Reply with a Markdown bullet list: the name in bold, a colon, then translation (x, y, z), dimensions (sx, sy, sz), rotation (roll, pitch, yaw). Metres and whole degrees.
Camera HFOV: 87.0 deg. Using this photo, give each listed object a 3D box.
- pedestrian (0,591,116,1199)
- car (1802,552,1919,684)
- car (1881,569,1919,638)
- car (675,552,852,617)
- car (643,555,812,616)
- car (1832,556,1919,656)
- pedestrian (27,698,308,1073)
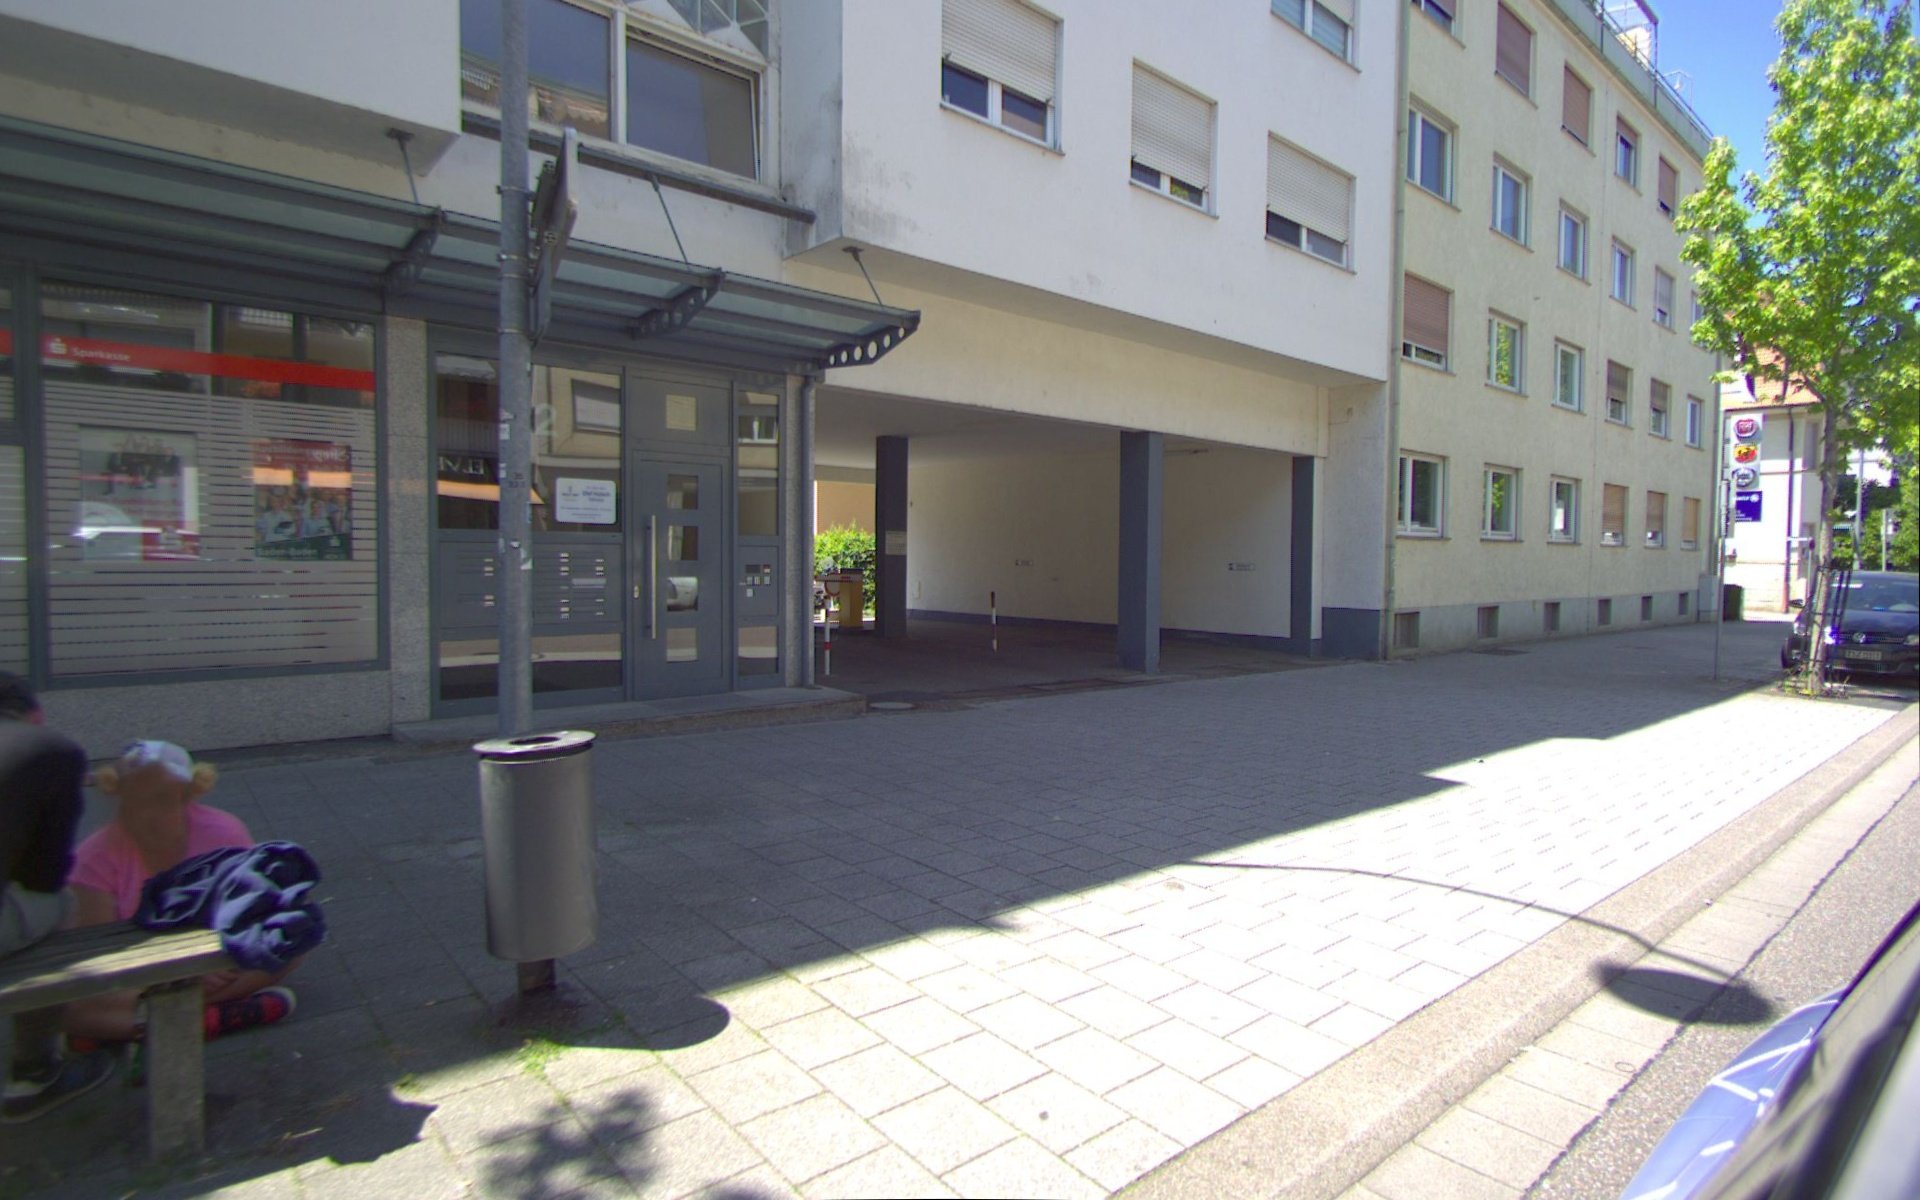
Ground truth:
- **pedestrian**: translation (-2.339, 0.626, 2.250), dimensions (0.527, 1.255, 0.764), rotation (0, 3, -26)
- **car**: translation (14.267, 0.207, 15.422), dimensions (3.934, 1.742, 1.691), rotation (-1, 5, -44)
- **car**: translation (22.782, 0.054, 23.397), dimensions (4.061, 1.506, 1.692), rotation (-1, 3, -41)
- **car**: translation (-4.747, -0.418, 24.768), dimensions (3.931, 1.471, 1.732), rotation (-1, 3, -41)
- **car**: translation (-5.987, -0.410, 26.246), dimensions (3.931, 1.471, 1.732), rotation (-1, 3, -41)
- **car**: translation (18.071, 0.057, 19.363), dimensions (4.065, 1.743, 1.690), rotation (-1, 3, -44)
- **pedestrian**: translation (-2.329, 0.786, 3.052), dimensions (0.527, 0.862, 0.681), rotation (0, 3, -26)
